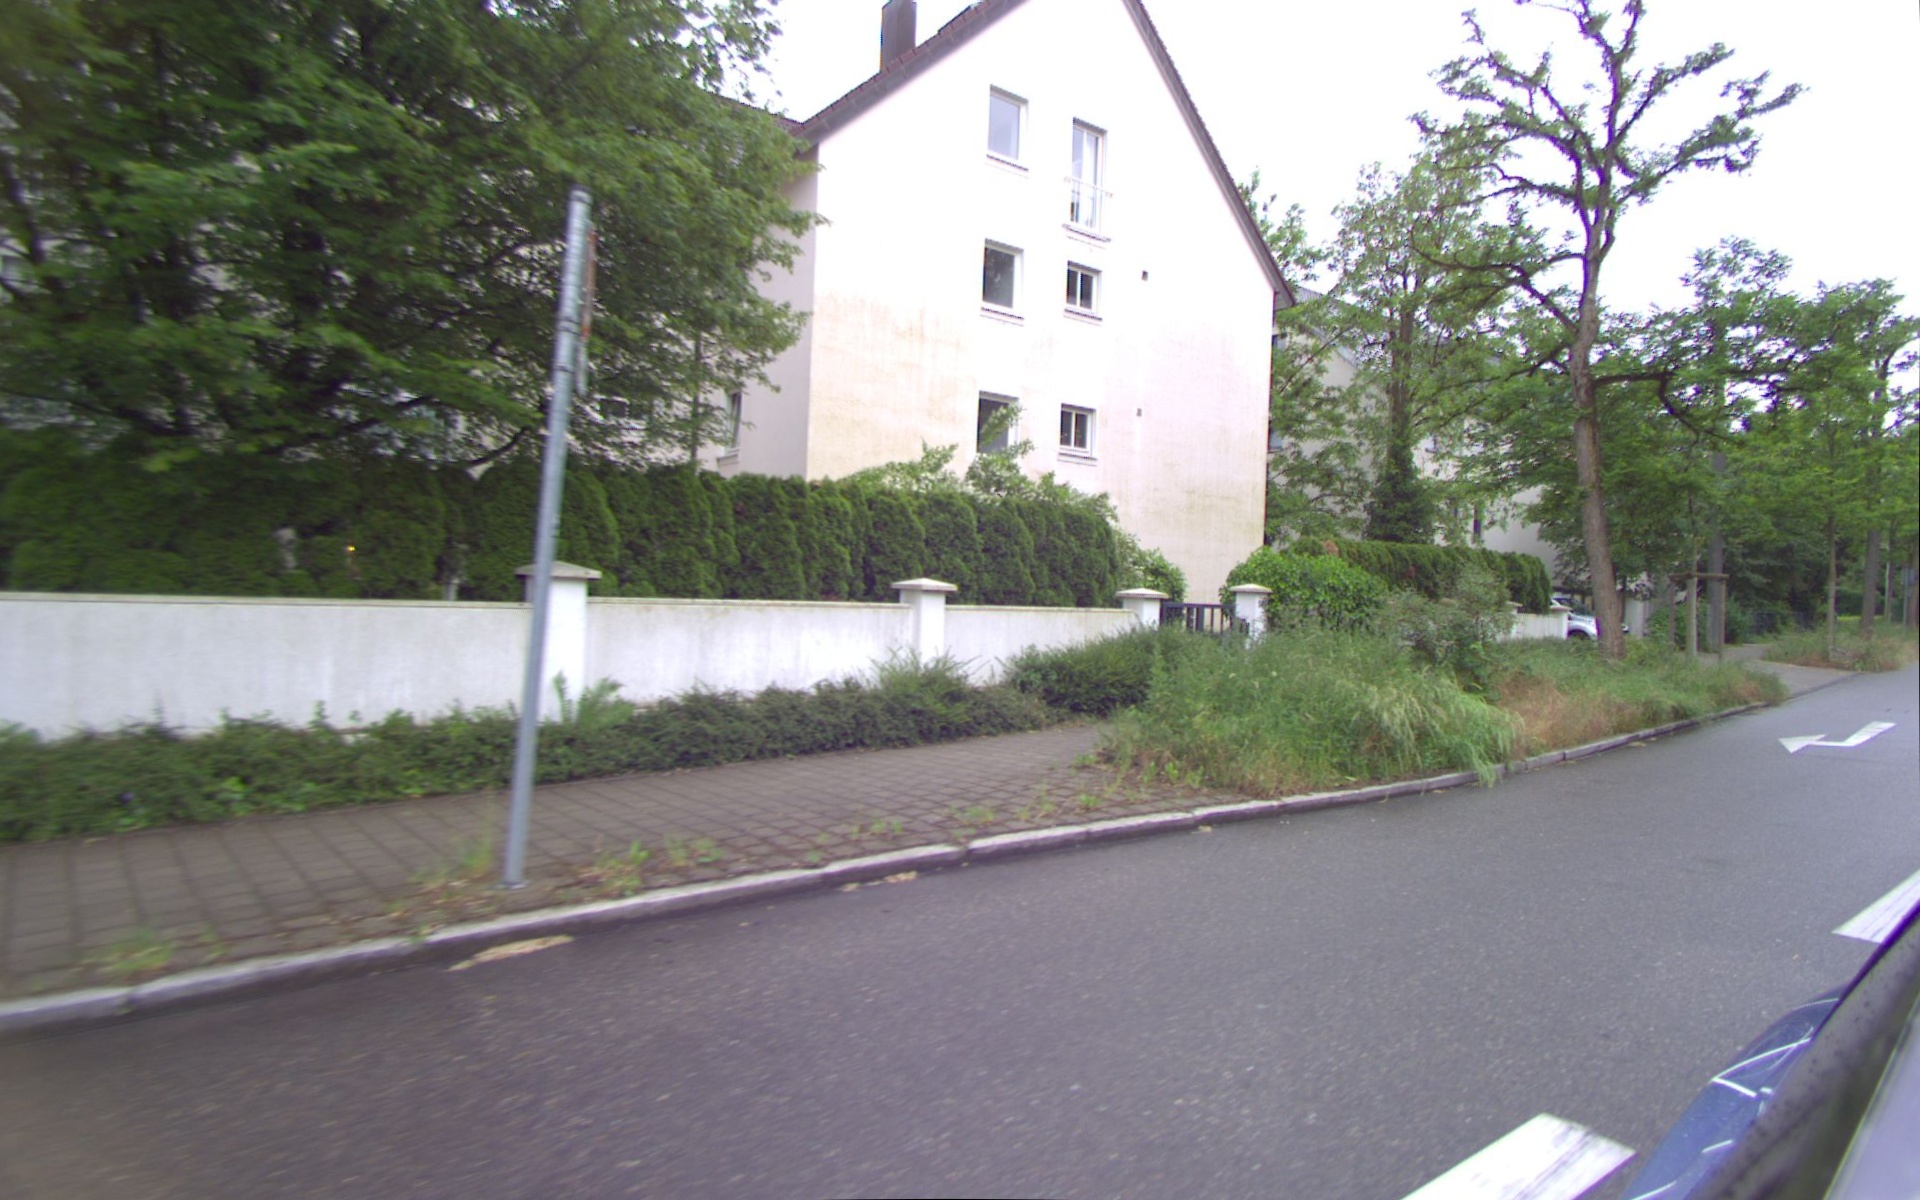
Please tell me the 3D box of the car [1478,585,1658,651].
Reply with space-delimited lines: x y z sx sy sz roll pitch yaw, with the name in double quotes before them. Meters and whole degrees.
"car" 18.383 0.481 30.791 1.837 1.840 4.322 1 0 -31
